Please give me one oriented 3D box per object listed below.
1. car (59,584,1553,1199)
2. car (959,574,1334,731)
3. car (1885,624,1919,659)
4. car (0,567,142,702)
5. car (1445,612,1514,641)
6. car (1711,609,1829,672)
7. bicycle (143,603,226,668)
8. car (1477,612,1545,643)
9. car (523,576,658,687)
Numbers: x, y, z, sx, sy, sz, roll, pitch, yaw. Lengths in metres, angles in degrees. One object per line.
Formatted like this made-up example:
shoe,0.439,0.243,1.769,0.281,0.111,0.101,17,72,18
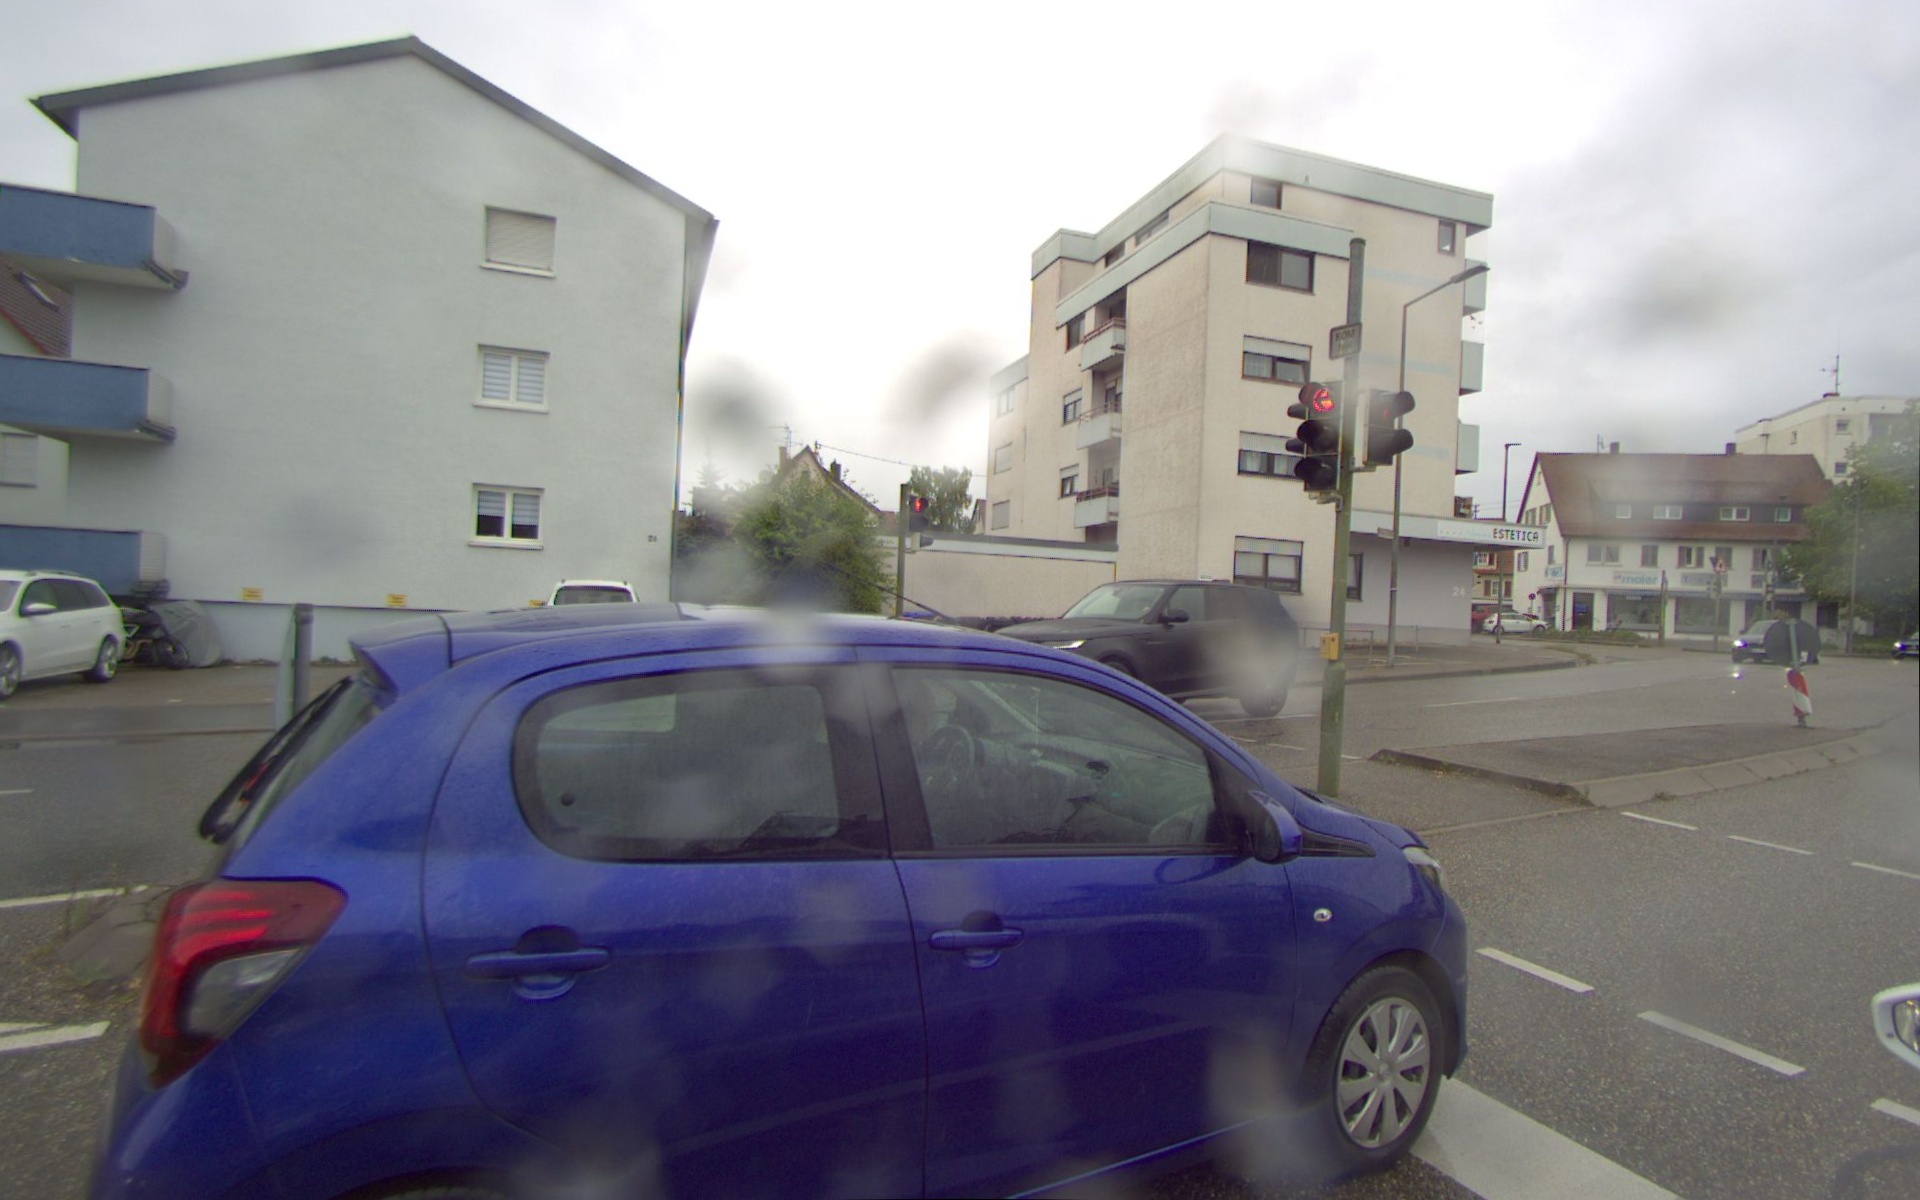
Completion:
car,-0.075,0.728,2.770,3.324,1.431,1.498,2,0,-30
car,2.646,0.667,13.550,5.132,1.760,1.979,3,0,-36
car,43.781,1.922,45.483,3.960,1.483,1.981,3,0,-35
car,-11.999,0.361,12.205,1.854,1.480,4.733,2,-1,-22
car,36.824,1.879,71.306,3.987,1.868,1.889,2,0,15
car,26.950,1.352,33.404,3.960,1.929,1.981,3,0,-35
bicycle,-13.203,0.599,17.122,1.053,1.067,0.345,1,0,-30
car,37.525,1.871,68.474,3.611,1.946,1.889,2,0,15
car,-6.270,0.494,17.261,1.884,1.637,3.983,2,0,-19
